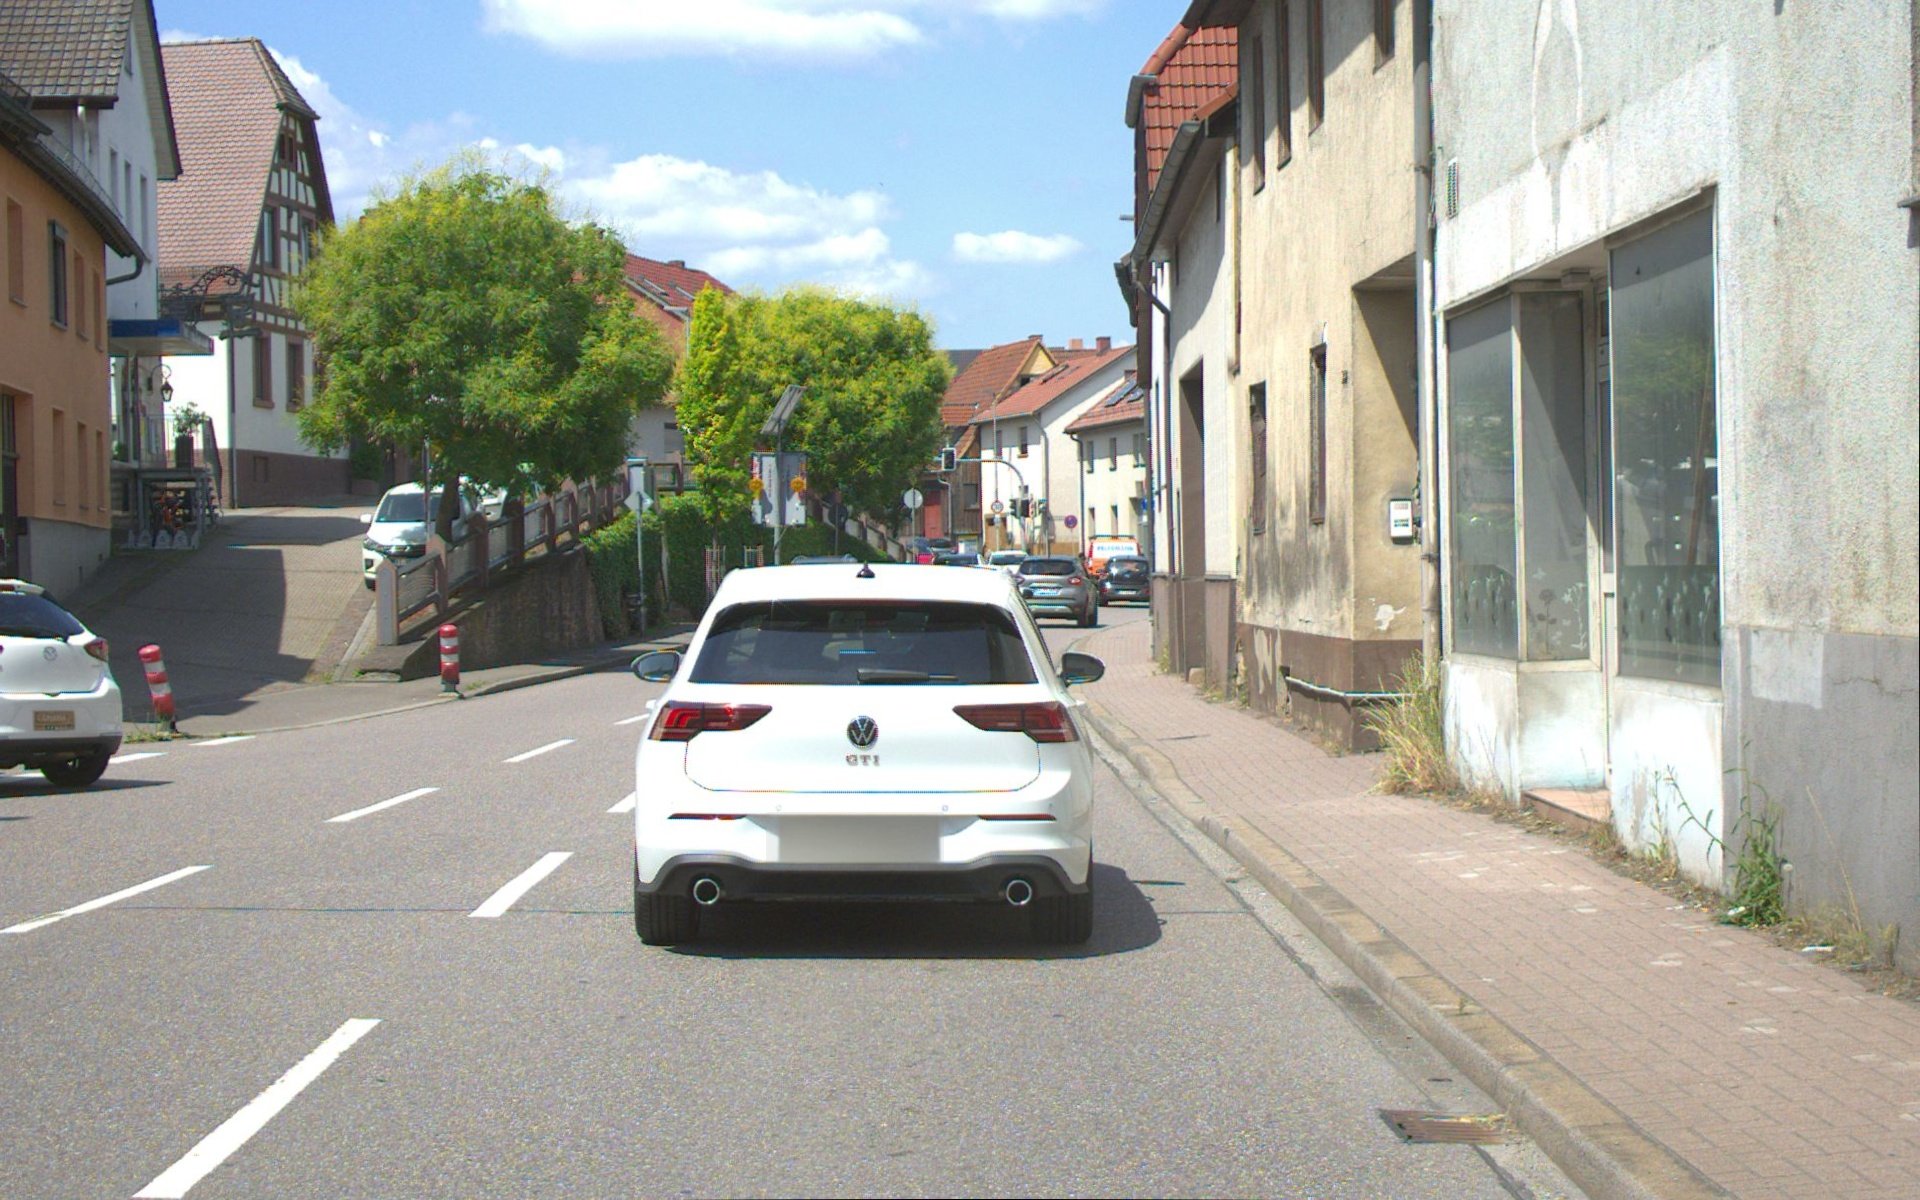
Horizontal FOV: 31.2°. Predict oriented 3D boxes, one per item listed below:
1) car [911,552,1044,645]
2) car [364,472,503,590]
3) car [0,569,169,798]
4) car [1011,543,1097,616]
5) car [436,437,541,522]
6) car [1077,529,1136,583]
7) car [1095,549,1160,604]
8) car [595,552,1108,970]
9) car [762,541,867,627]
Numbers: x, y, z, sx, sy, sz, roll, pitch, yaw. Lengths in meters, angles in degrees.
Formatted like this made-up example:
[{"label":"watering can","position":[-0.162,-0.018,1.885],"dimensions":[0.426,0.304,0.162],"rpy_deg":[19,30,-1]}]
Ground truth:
[{"label":"car","position":[0.328,-0.048,57.354],"dimensions":[1.808,1.462,3.999],"rpy_deg":[1,1,6]},{"label":"car","position":[-8.457,-1.146,55.491],"dimensions":[1.693,1.537,3.857],"rpy_deg":[0,6,-1]},{"label":"car","position":[-7.527,0.505,23.627],"dimensions":[3.995,1.462,1.810],"rpy_deg":[1,1,34]},{"label":"car","position":[2.105,-0.473,75.783],"dimensions":[1.775,1.533,4.000],"rpy_deg":[-1,1,3]},{"label":"car","position":[-9.269,-2.394,67.758],"dimensions":[1.576,1.357,3.857],"rpy_deg":[0,6,-1]},{"label":"car","position":[4.919,-1.492,115.015],"dimensions":[1.776,1.759,3.999],"rpy_deg":[-1,1,5]},{"label":"car","position":[4.864,-0.685,99.473],"dimensions":[1.775,1.533,4.000],"rpy_deg":[-1,1,4]},{"label":"car","position":[-0.350,0.555,14.274],"dimensions":[1.808,1.462,4.000],"rpy_deg":[1,1,1]},{"label":"car","position":[-2.878,-0.335,68.820],"dimensions":[1.758,1.630,4.049],"rpy_deg":[-1,1,2]}]
